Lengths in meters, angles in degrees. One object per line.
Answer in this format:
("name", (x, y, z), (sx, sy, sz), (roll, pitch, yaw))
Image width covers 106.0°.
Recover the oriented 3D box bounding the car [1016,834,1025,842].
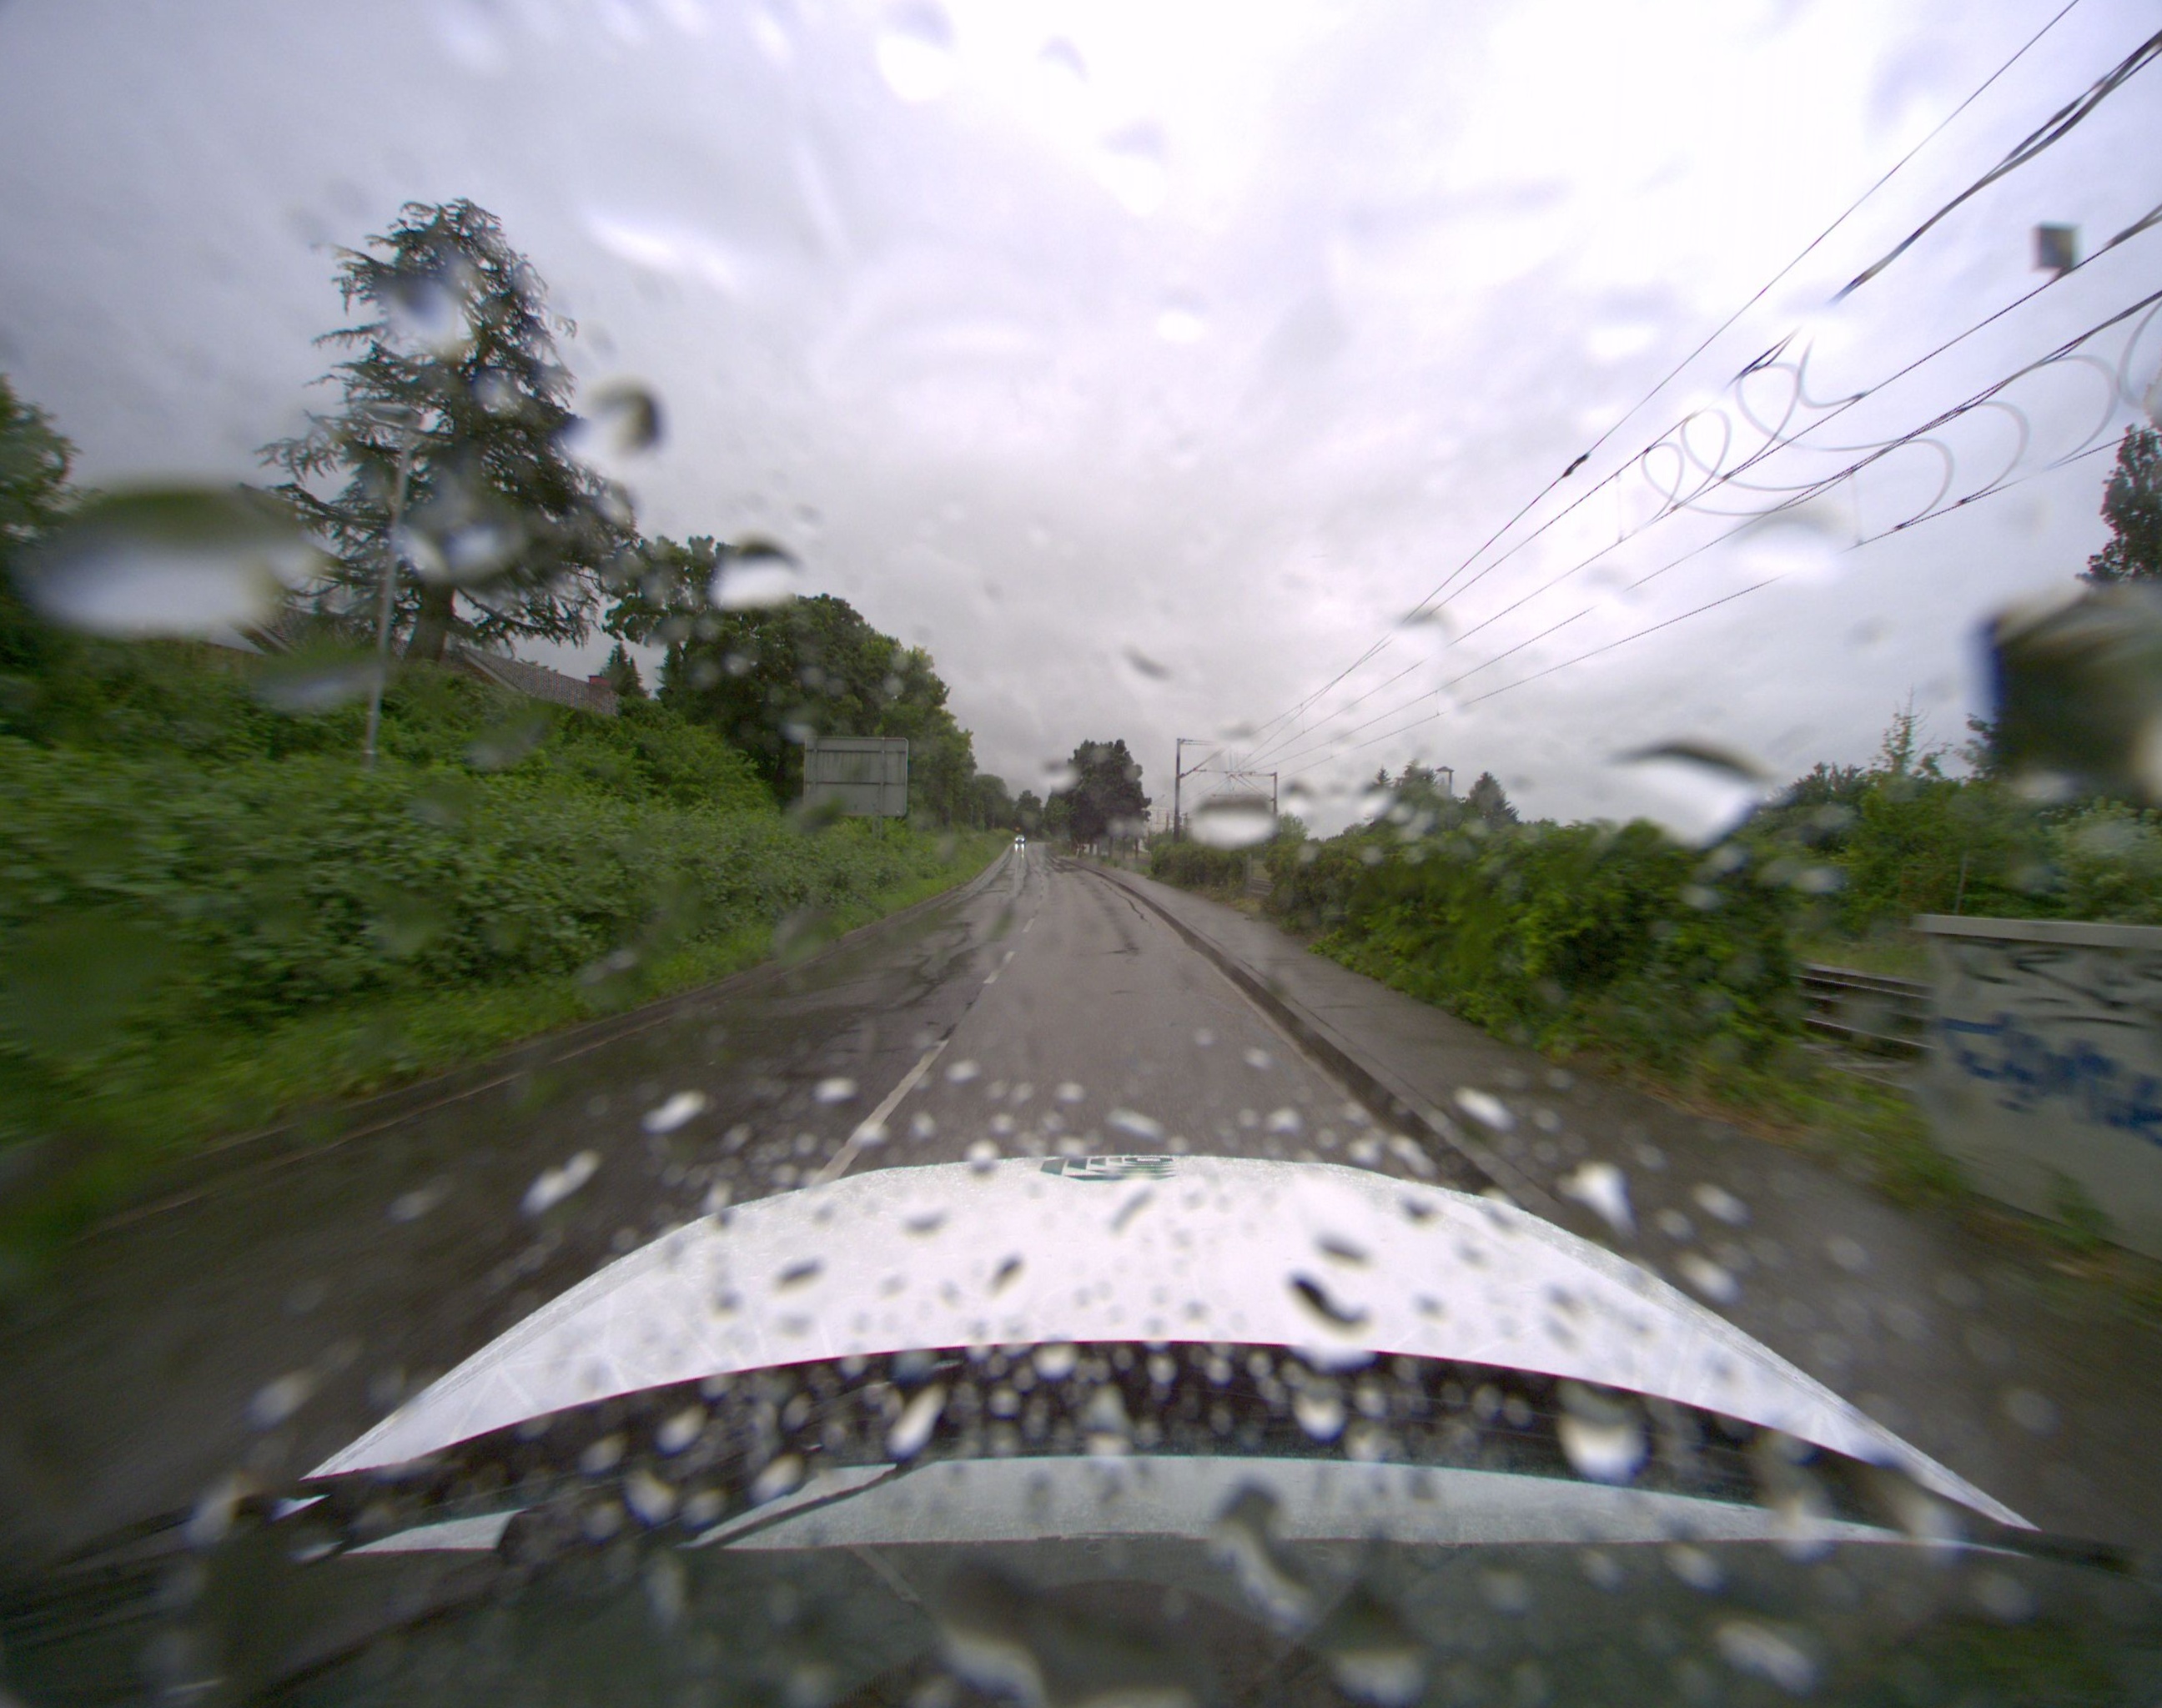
("car", (-12.561, -3.282, 169.331), (1.741, 1.611, 4.083), (2, 1, -4))
